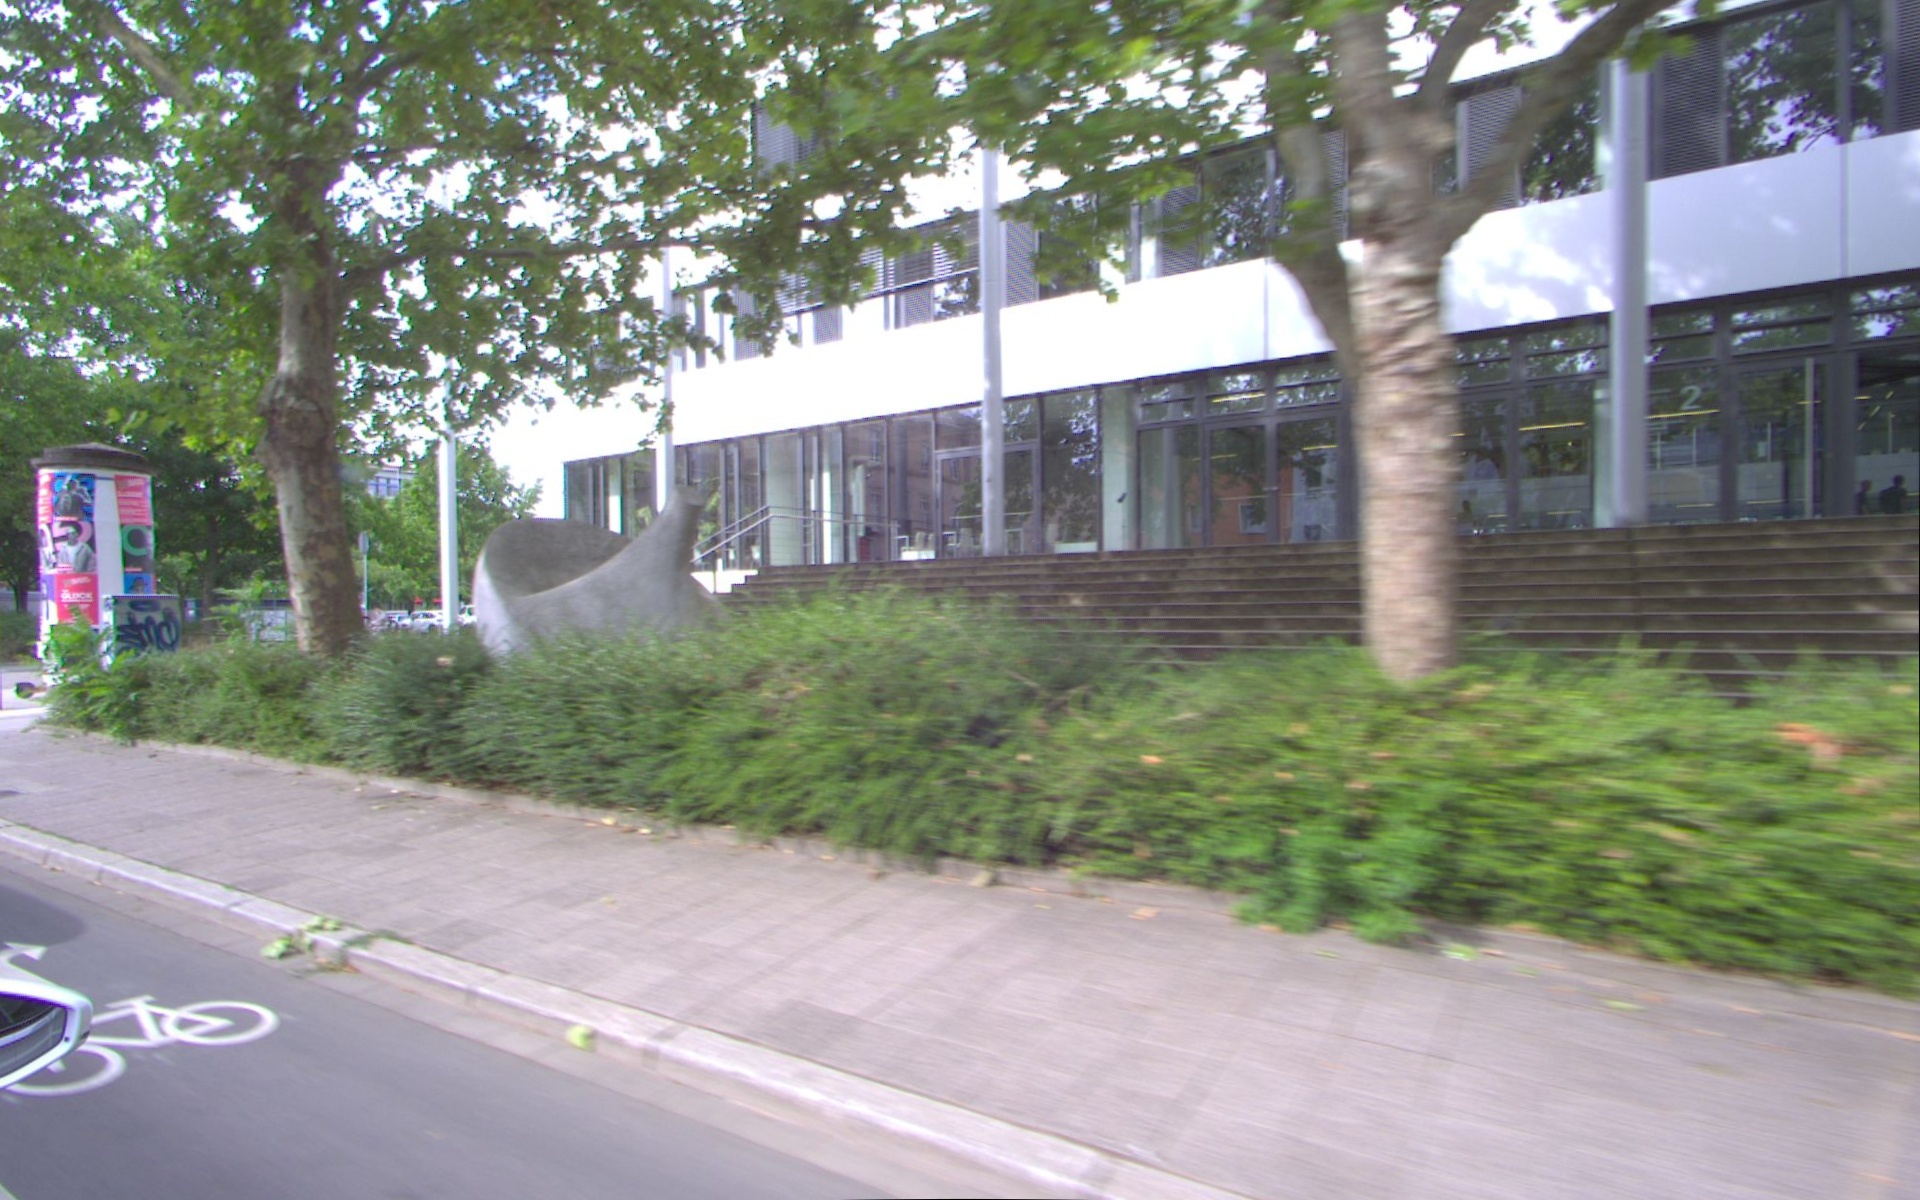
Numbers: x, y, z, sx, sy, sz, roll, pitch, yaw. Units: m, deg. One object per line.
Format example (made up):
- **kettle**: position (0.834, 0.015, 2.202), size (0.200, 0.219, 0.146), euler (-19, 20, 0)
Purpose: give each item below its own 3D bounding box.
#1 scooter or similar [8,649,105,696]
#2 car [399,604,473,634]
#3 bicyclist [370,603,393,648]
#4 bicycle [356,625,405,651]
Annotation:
- **scooter or similar**: position (-15.823, 1.253, 17.560), size (0.364, 0.746, 1.216), euler (0, 0, 31)
- **car**: position (-30.805, 1.114, 58.847), size (4.091, 1.673, 1.958), euler (-1, 0, 30)
- **bicyclist**: position (-21.362, 0.923, 36.976), size (0.528, 1.640, 0.567), euler (0, 1, 32)
- **bicycle**: position (-21.381, 1.386, 36.958), size (0.547, 0.897, 1.467), euler (0, 0, 32)
